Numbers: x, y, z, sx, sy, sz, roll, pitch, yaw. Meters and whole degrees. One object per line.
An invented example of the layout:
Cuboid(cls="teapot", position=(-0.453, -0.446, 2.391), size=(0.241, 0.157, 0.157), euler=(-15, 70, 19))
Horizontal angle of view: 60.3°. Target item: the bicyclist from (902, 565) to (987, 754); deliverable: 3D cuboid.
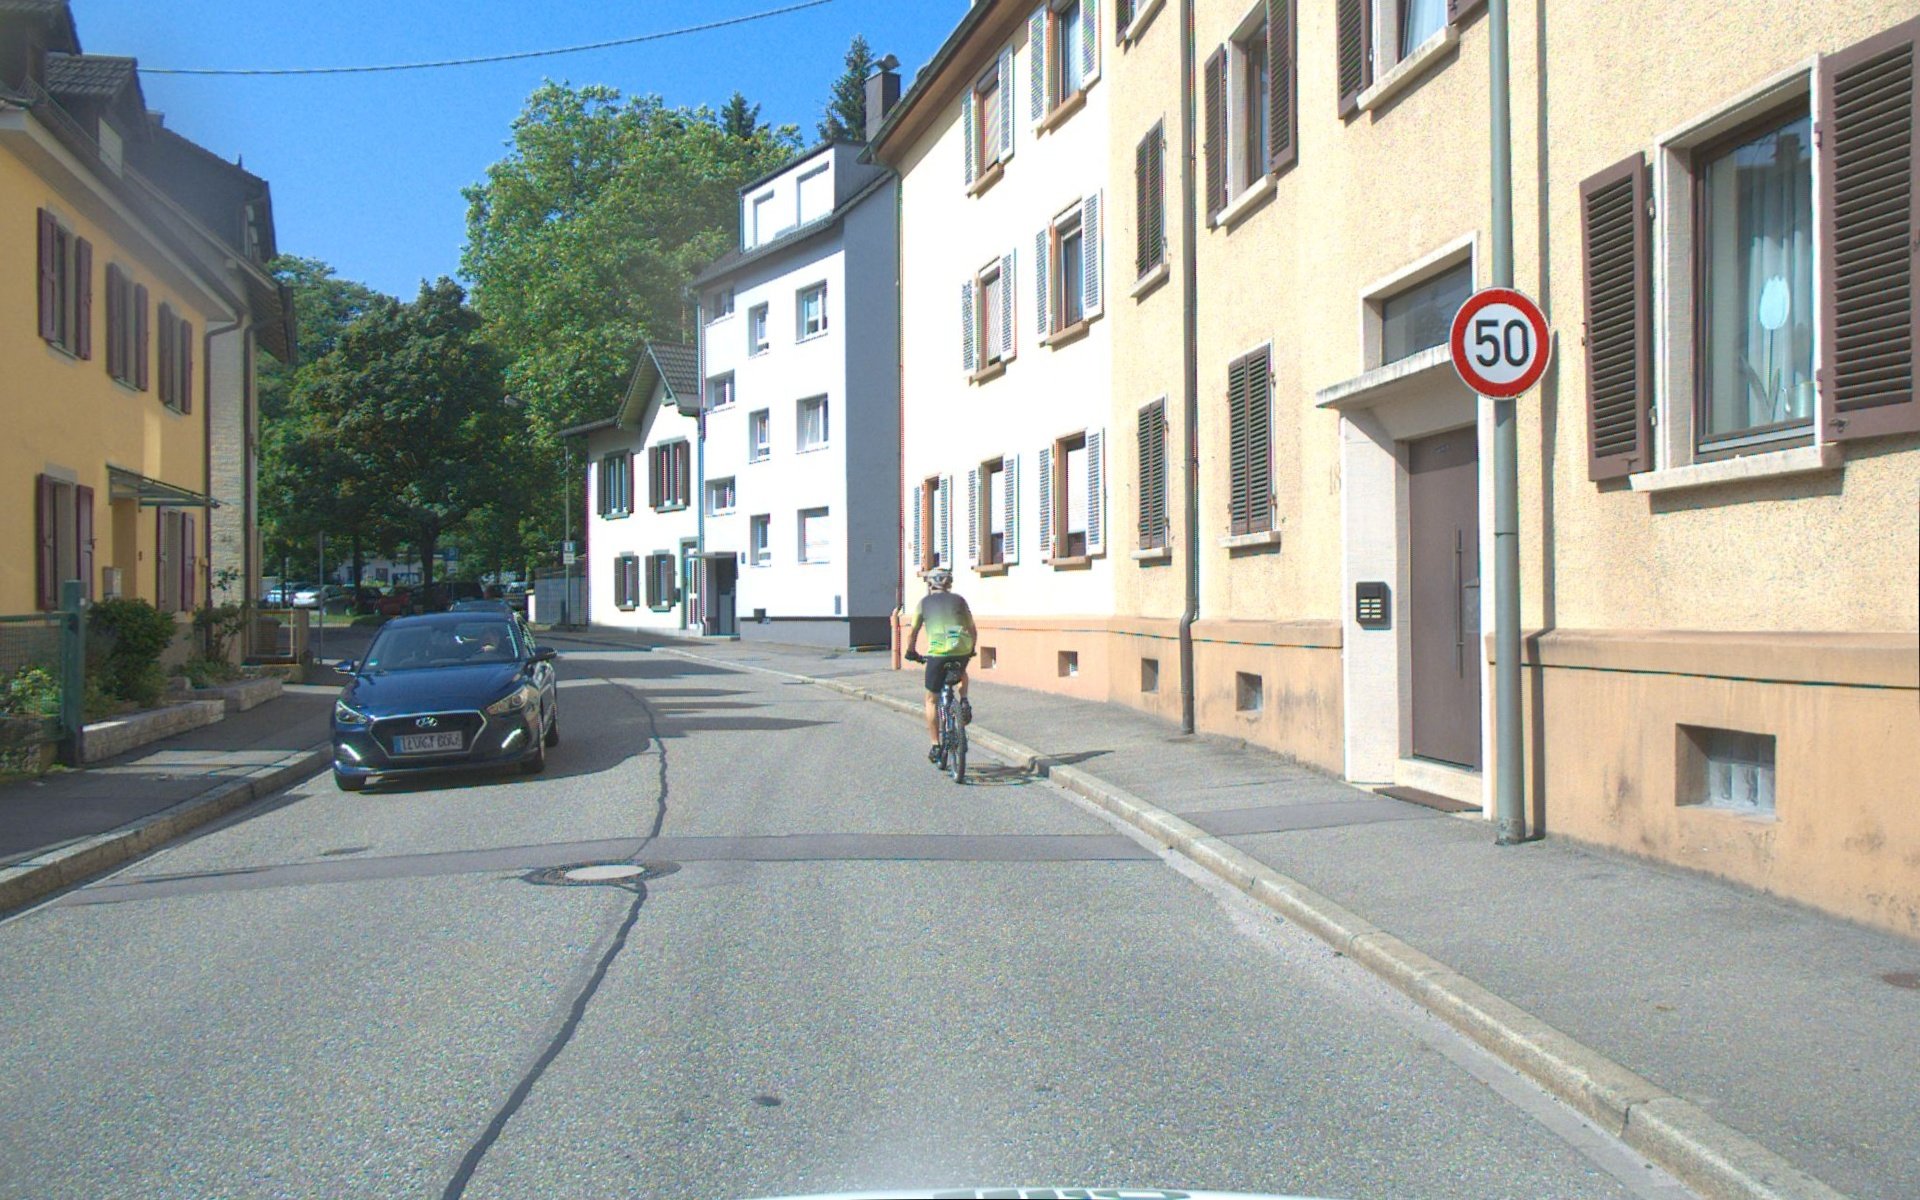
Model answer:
Cuboid(cls="bicyclist", position=(-0.141, 0.497, 14.126), size=(0.672, 1.558, 0.715), euler=(-1, 0, -3))

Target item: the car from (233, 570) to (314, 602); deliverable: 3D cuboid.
Cuboid(cls="car", position=(-42.155, -0.840, 101.685), size=(1.952, 1.887, 4.702), euler=(0, 0, 19))

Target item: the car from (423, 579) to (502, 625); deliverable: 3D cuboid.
Cuboid(cls="car", position=(-21.507, 0.058, 71.476), size=(1.812, 1.822, 3.940), euler=(-2, 2, -41))

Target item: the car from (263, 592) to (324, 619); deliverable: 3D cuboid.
Cuboid(cls="car", position=(-39.658, 0.303, 98.437), size=(1.771, 1.579, 4.002), euler=(0, 0, 4))

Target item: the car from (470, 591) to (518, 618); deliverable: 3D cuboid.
Cuboid(cls="car", position=(-23.777, 0.225, 84.298), size=(1.565, 1.279, 3.821), euler=(-2, 1, -28))

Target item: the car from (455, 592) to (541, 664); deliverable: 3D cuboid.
Cuboid(cls="car", position=(-10.860, 0.625, 38.733), size=(1.634, 1.474, 4.235), euler=(-4, 1, -19))

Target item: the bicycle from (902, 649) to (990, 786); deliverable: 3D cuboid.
Cuboid(cls="bicycle", position=(-0.137, 0.974, 14.128), size=(0.684, 1.053, 1.470), euler=(1, 0, -3))

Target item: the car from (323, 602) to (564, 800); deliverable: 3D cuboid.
Cuboid(cls="car", position=(-4.736, 0.831, 15.671), size=(1.717, 1.478, 4.015), euler=(-3, 1, -12))

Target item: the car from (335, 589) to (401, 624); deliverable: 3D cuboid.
Cuboid(cls="car", position=(-28.931, 0.315, 80.775), size=(1.699, 1.569, 3.940), euler=(-2, 2, -41))
